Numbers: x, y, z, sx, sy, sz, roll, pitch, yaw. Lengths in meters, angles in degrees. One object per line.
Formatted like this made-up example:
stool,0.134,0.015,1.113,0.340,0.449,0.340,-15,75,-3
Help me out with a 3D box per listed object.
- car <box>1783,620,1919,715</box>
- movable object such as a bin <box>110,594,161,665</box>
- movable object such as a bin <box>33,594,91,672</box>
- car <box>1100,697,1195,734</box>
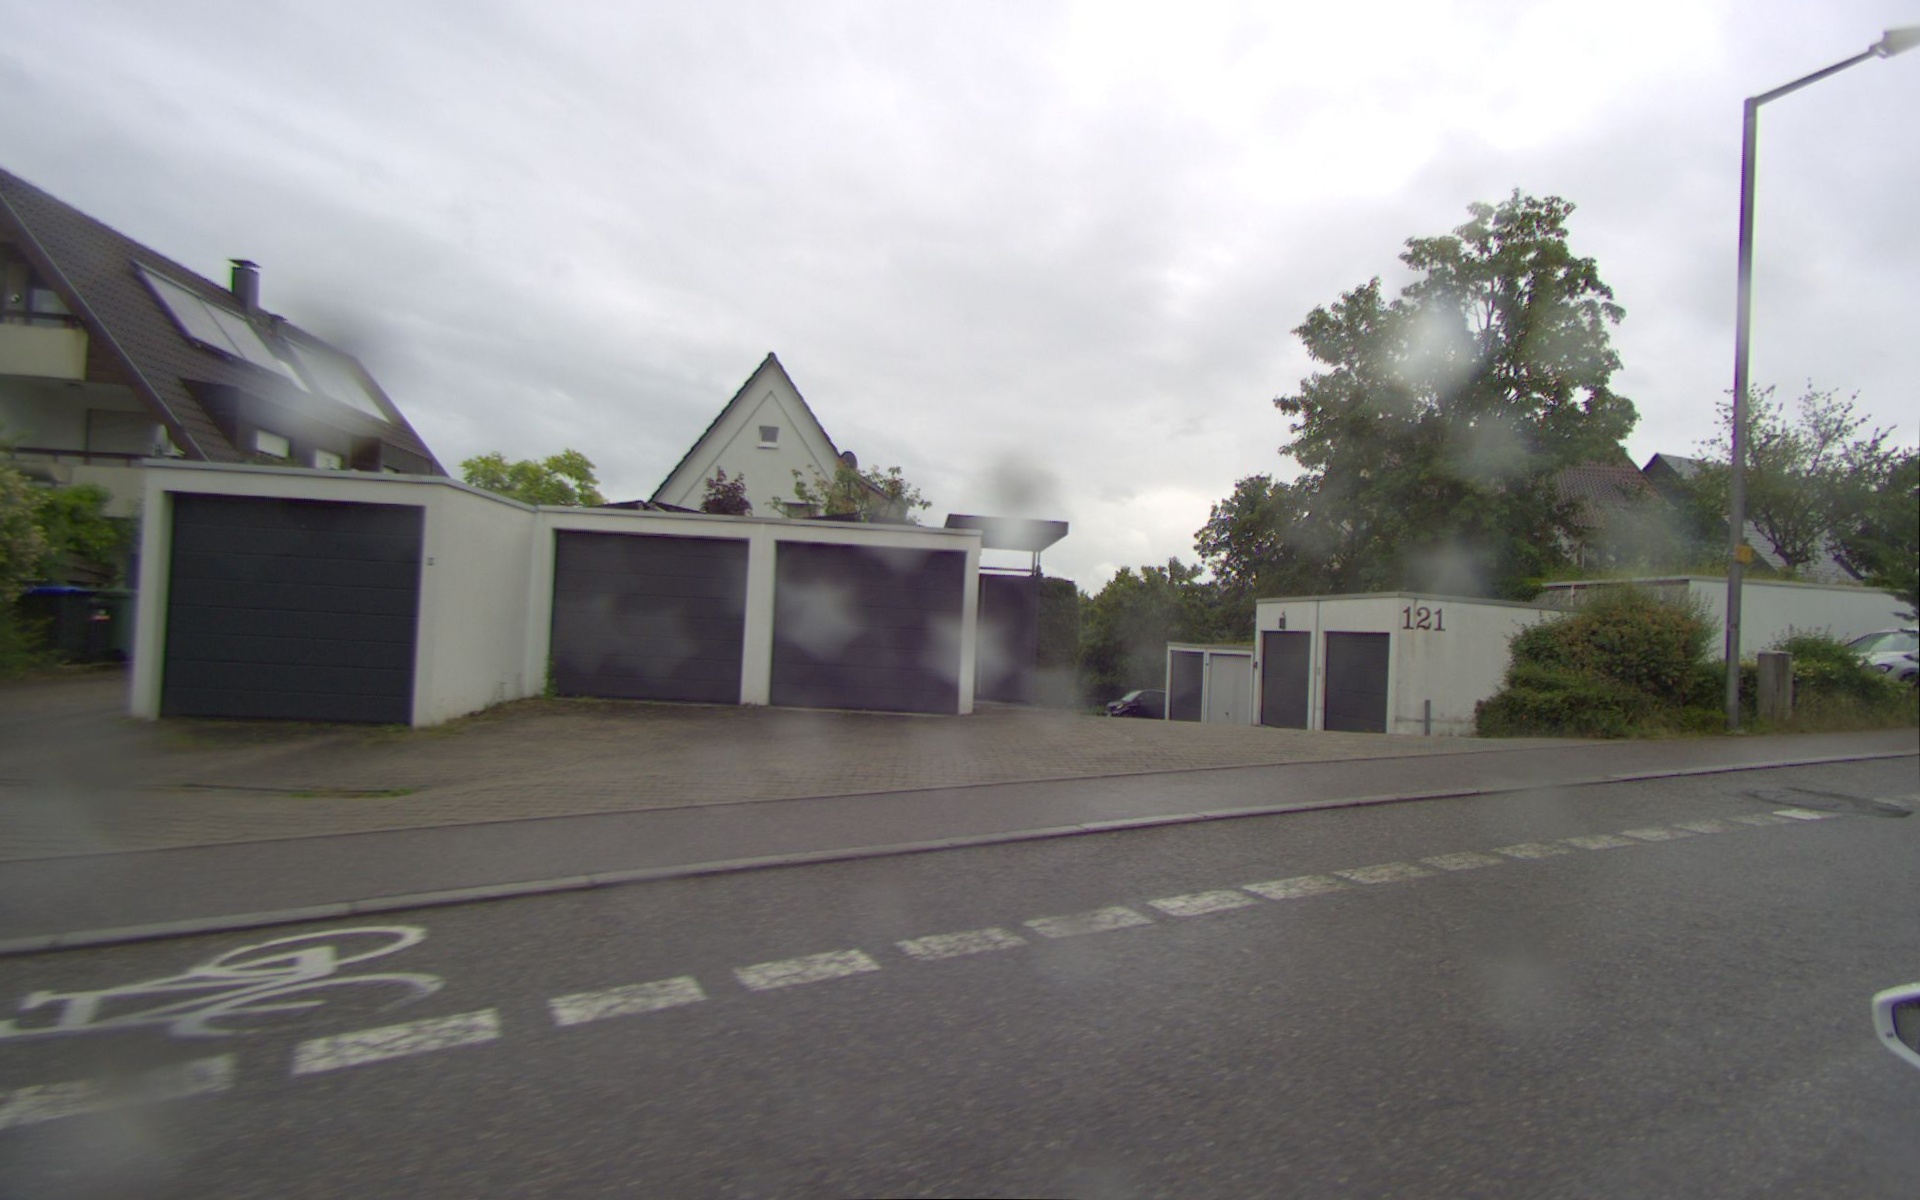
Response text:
car,17.634,1.215,18.231,4.309,1.574,1.708,2,0,-9
movable object such as a bin,-12.351,0.438,15.052,0.469,1.038,0.411,2,0,-25
movable object such as a bin,-12.314,0.449,13.782,0.469,1.038,0.411,2,0,-25
car,7.473,4.602,40.072,3.367,1.280,1.602,2,0,-15
